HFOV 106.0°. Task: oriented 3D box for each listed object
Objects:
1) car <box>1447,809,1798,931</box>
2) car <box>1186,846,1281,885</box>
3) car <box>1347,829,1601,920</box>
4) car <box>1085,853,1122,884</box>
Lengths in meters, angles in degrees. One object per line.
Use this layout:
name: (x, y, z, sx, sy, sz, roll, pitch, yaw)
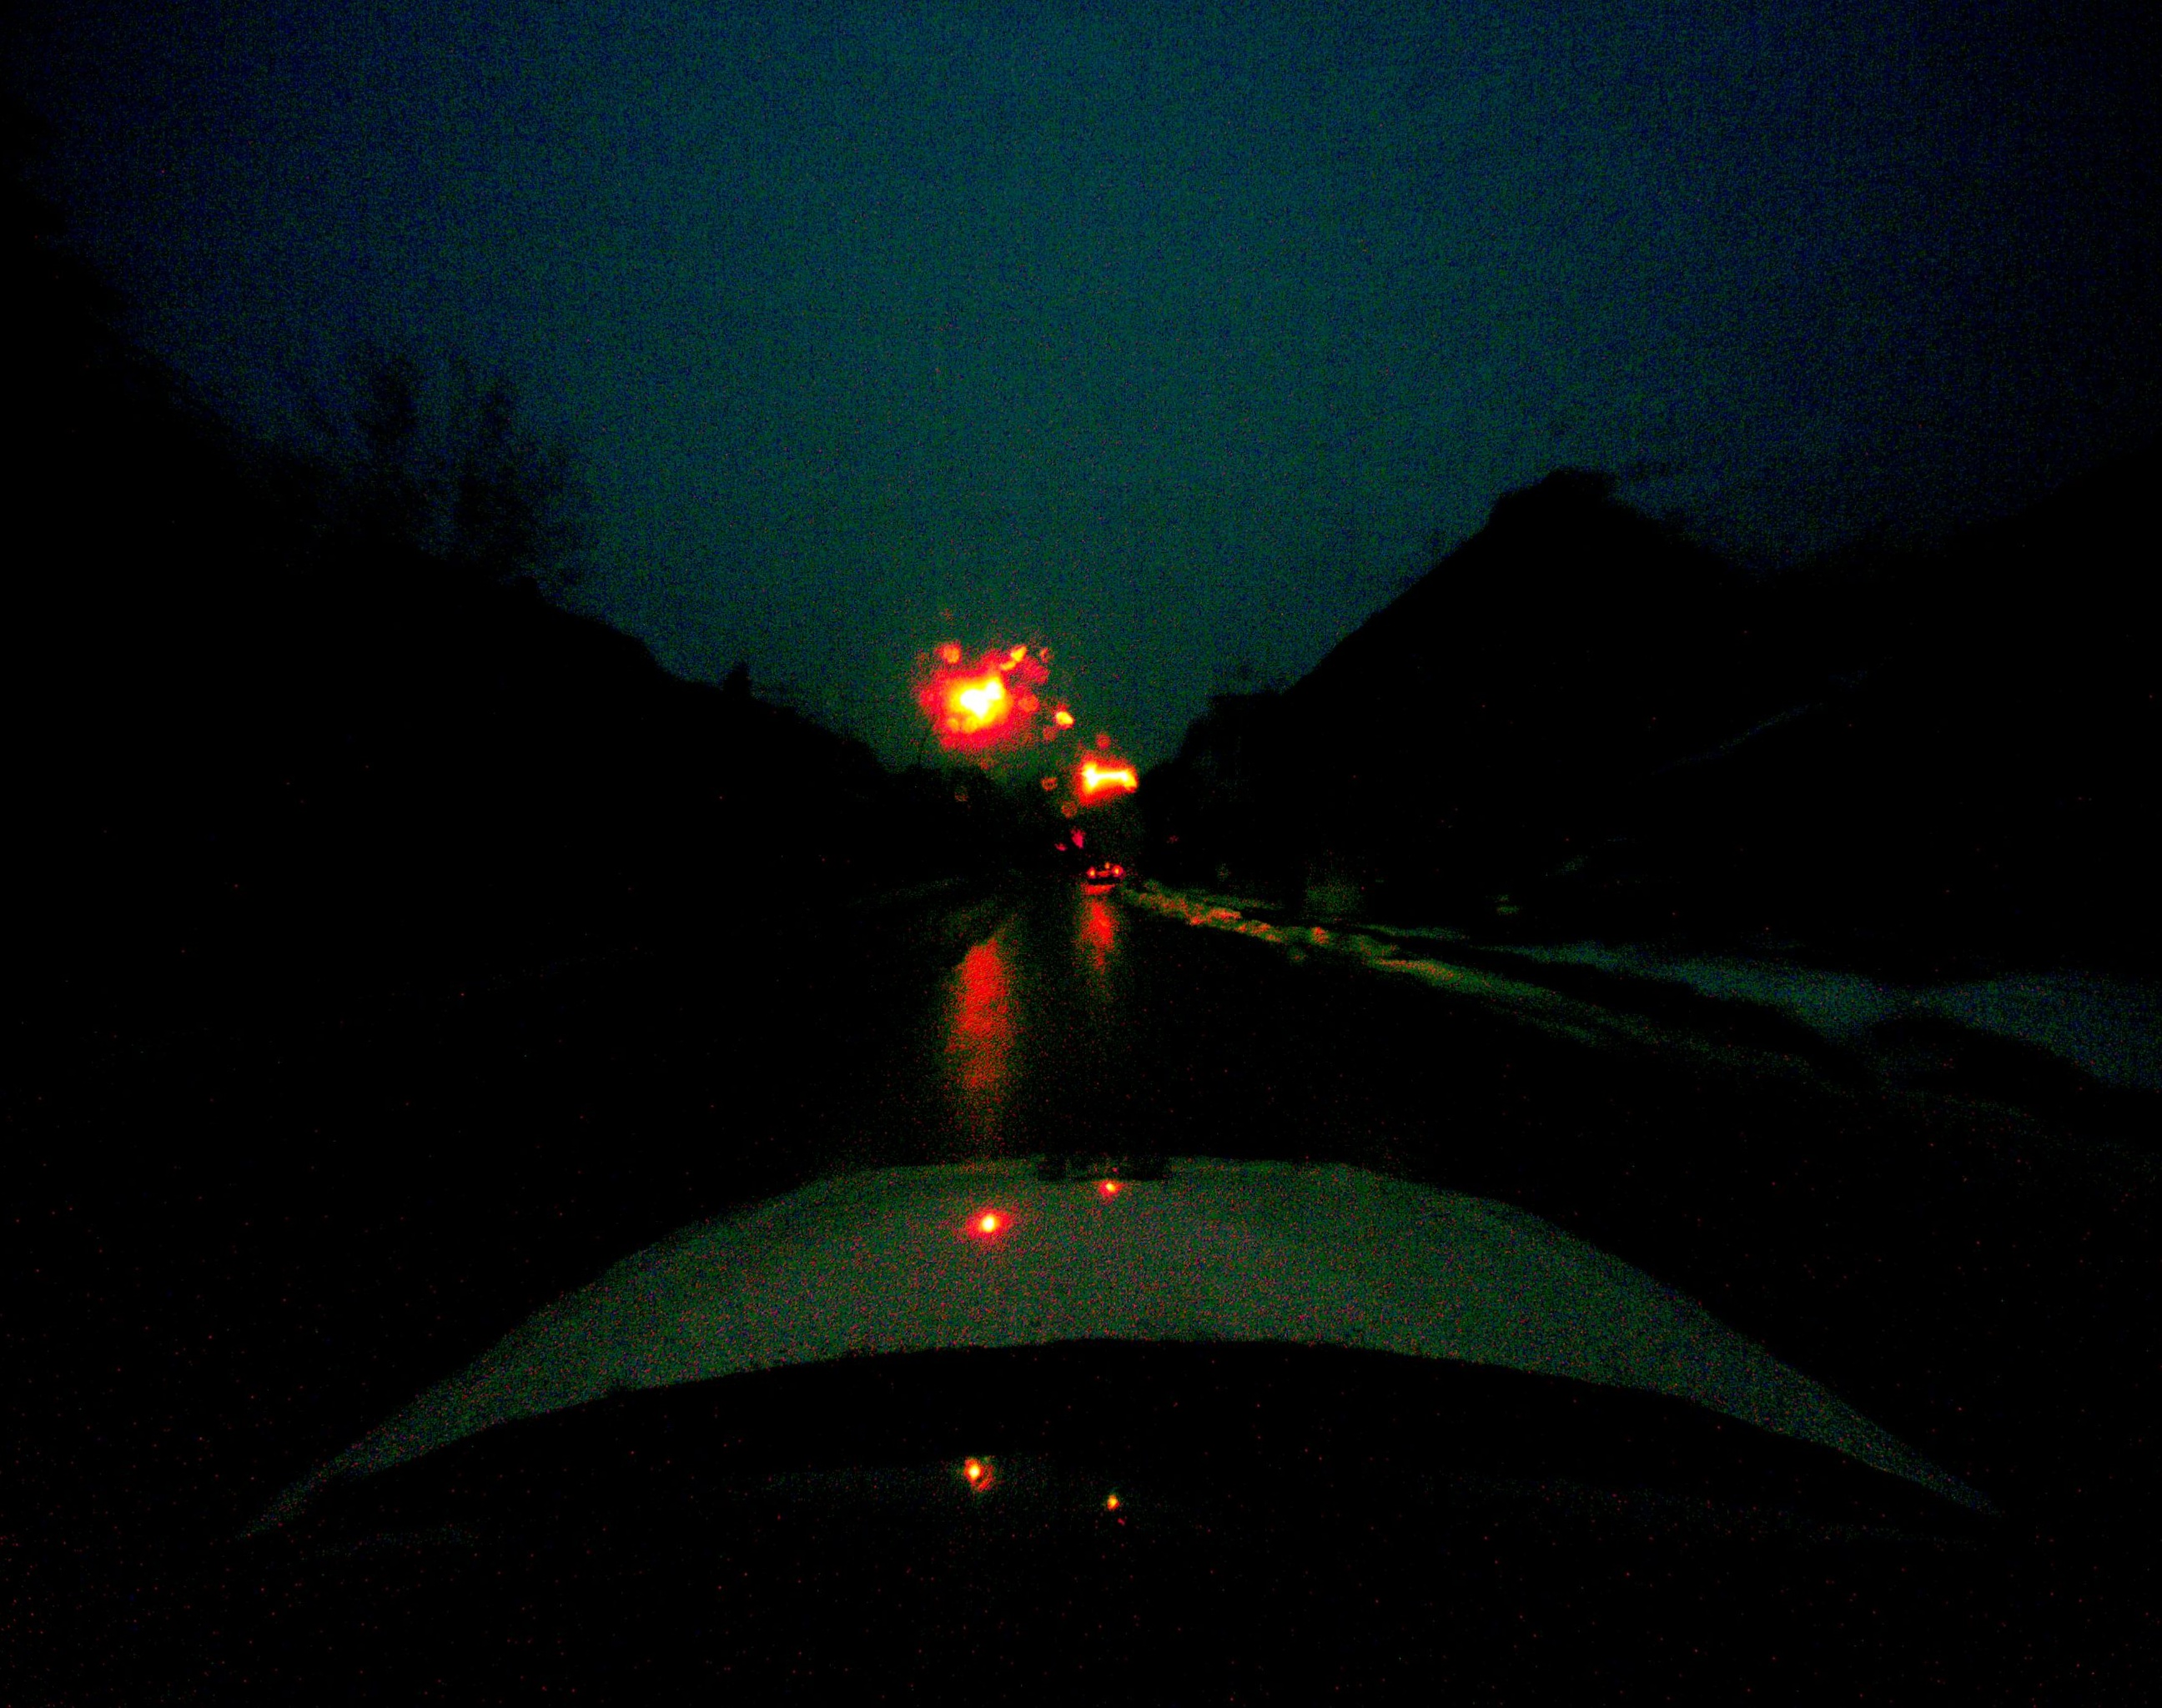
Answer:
car: (8.446, 0.321, 13.184, 4.212, 1.559, 2.007, -4, -4, 13)
car: (6.782, 0.499, 36.221, 3.956, 1.690, 1.853, 0, 0, 17)
car: (7.631, 0.446, 16.231, 4.134, 1.559, 1.950, -2, -3, 8)
car: (1.443, 0.918, 50.968, 1.984, 1.737, 3.883, -2, -3, 5)
